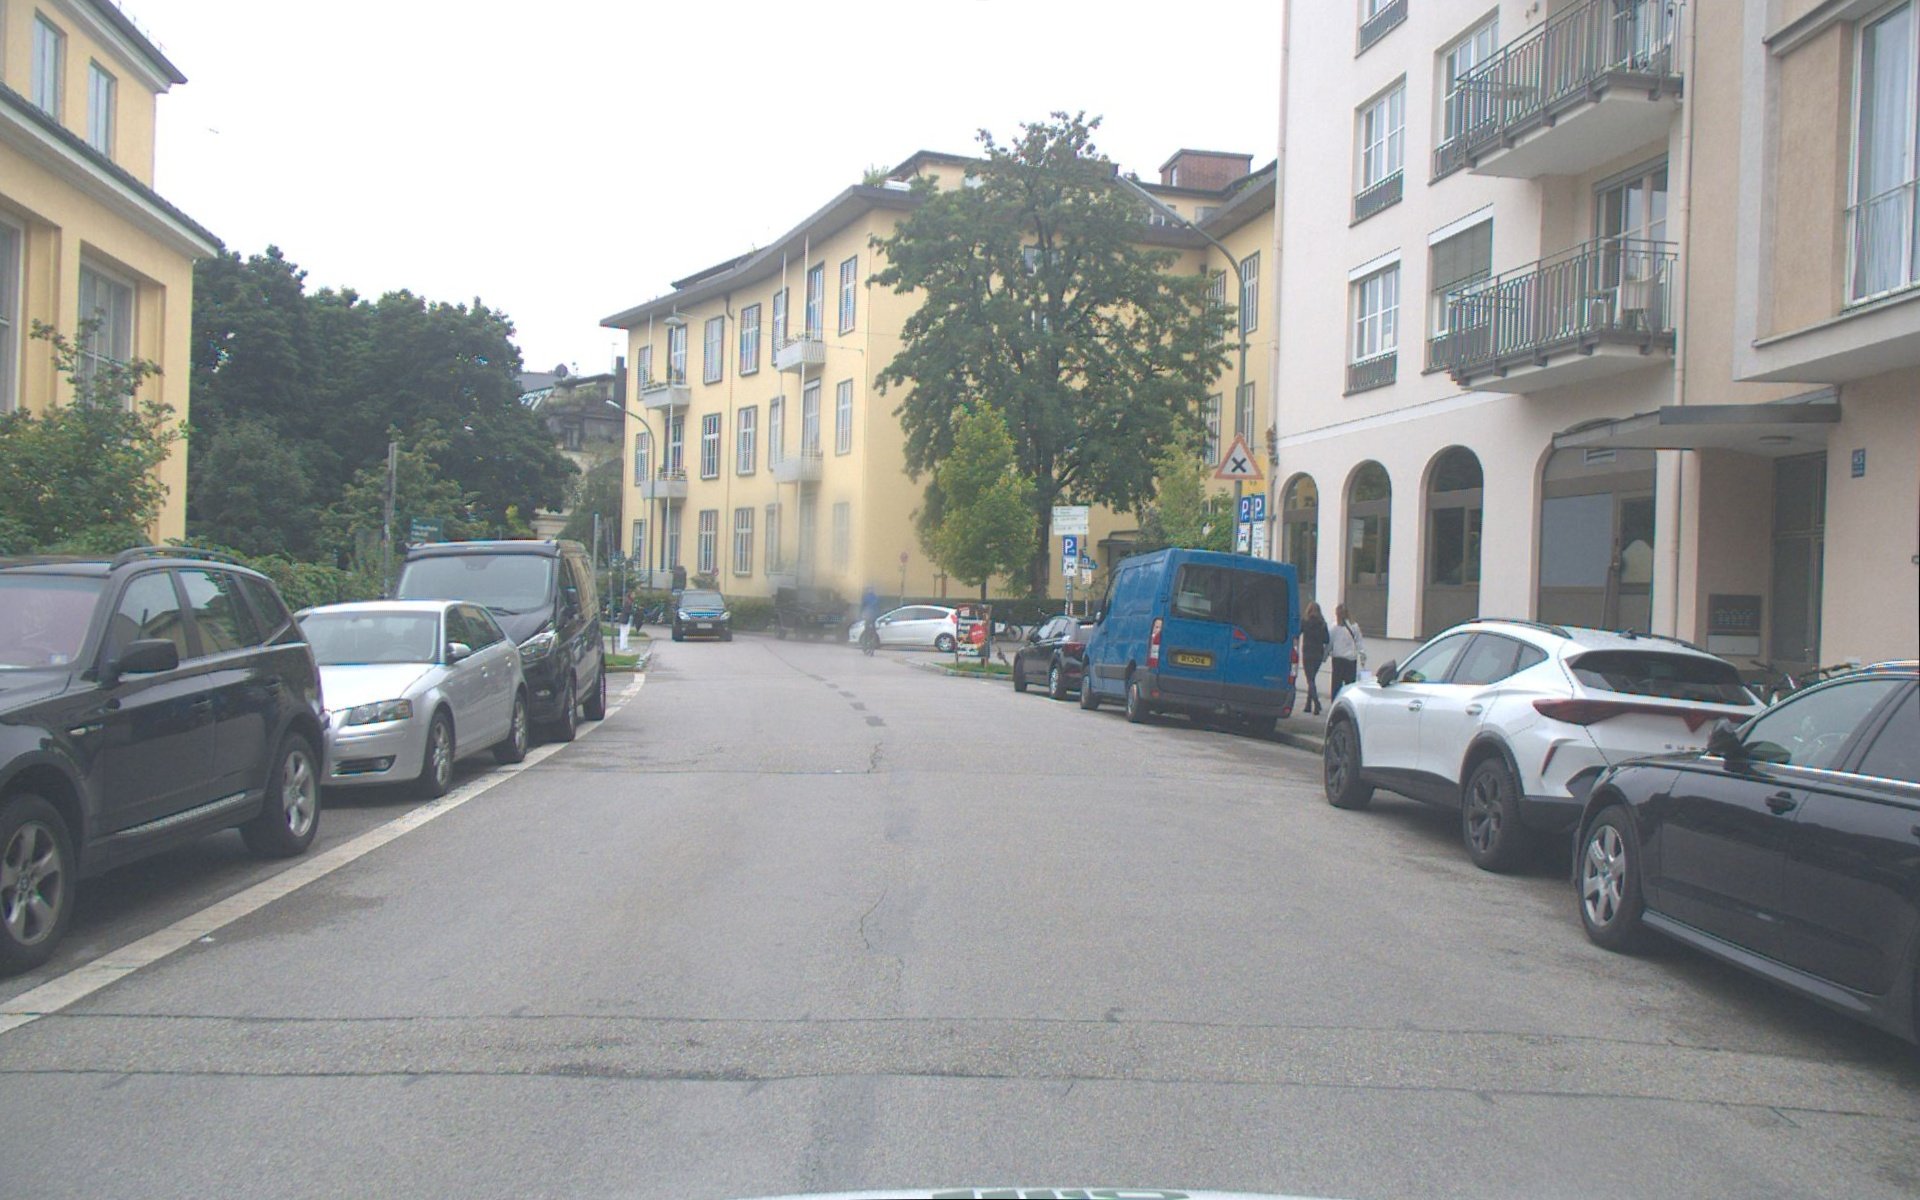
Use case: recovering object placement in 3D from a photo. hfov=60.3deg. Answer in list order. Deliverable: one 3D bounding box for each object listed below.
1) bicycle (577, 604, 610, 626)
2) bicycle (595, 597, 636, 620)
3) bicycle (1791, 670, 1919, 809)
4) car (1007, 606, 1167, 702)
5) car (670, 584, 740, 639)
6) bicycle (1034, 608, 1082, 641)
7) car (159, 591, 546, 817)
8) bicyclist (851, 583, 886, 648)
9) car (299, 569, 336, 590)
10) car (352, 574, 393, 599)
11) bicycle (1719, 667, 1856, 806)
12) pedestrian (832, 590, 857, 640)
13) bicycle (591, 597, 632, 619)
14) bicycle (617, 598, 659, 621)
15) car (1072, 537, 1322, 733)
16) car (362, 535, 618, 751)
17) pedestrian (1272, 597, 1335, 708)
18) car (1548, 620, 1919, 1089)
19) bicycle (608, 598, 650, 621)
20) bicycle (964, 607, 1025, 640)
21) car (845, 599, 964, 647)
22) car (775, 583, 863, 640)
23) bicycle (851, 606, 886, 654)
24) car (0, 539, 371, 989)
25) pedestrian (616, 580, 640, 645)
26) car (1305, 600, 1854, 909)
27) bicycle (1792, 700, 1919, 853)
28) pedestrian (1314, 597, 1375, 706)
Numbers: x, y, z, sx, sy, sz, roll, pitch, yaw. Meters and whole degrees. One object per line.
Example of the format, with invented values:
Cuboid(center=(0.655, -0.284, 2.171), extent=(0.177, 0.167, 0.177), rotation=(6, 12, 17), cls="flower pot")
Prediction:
Cuboid(center=(-18.483, 0.766, 83.440), extent=(0.521, 1.046, 1.977), rotation=(1, 0, 23), cls="bicycle")
Cuboid(center=(-16.871, 0.415, 80.946), extent=(0.608, 1.046, 1.965), rotation=(1, -1, 43), cls="bicycle")
Cuboid(center=(7.971, 1.219, 14.778), extent=(0.361, 1.120, 1.346), rotation=(-2, -1, 0), cls="bicycle")
Cuboid(center=(2.184, 0.908, 29.452), extent=(1.685, 1.419, 3.988), rotation=(5, -1, -12), cls="car")
Cuboid(center=(-8.829, 0.377, 57.000), extent=(1.959, 1.749, 4.599), rotation=(1, 1, -14), cls="car")
Cuboid(center=(3.525, 0.893, 59.693), extent=(1.651, 1.150, 0.459), rotation=(1, 0, -11), cls="bicycle")
Cuboid(center=(-4.542, 0.679, 13.016), extent=(1.673, 1.389, 3.999), rotation=(-3, 1, -3), cls="car")
Cuboid(center=(-2.587, 0.430, 46.842), extent=(0.895, 1.795, 1.215), rotation=(1, 0, -2), cls="bicyclist")
Cuboid(center=(-54.124, -1.739, 139.251), extent=(1.976, 1.628, 4.204), rotation=(1, 0, -34), cls="car")
Cuboid(center=(-41.305, -0.956, 116.247), extent=(1.777, 1.709, 3.952), rotation=(1, 1, -34), cls="car")
Cuboid(center=(7.328, 1.188, 14.703), extent=(0.384, 1.120, 1.345), rotation=(-2, -1, -6), cls="bicycle")
Cuboid(center=(-4.206, 0.539, 60.000), extent=(0.832, 1.788, 0.952), rotation=(1, 0, -8), cls="pedestrian")
Cuboid(center=(-17.255, 0.402, 81.957), extent=(0.608, 1.046, 1.965), rotation=(1, -1, 43), cls="bicycle")
Cuboid(center=(-15.489, 0.448, 79.646), extent=(0.608, 1.046, 1.965), rotation=(1, -1, 43), cls="bicycle")
Cuboid(center=(3.161, 0.503, 23.313), extent=(2.070, 2.252, 5.020), rotation=(6, -2, -7), cls="car")
Cuboid(center=(-4.961, 0.378, 18.111), extent=(1.888, 2.013, 4.616), rotation=(-1, 1, -6), cls="car")
Cuboid(center=(5.203, 0.792, 25.094), extent=(0.666, 1.657, 0.827), rotation=(1, -1, -11), cls="pedestrian")
Cuboid(center=(3.997, 0.932, 6.234), extent=(1.737, 1.453, 4.693), rotation=(6, 0, -1), cls="car")
Cuboid(center=(-16.034, 0.458, 80.152), extent=(0.608, 1.046, 1.965), rotation=(1, -1, 43), cls="bicycle")
Cuboid(center=(1.256, 0.844, 59.802), extent=(2.122, 1.135, 0.641), rotation=(1, 0, 7), cls="bicycle")
Cuboid(center=(-1.771, 0.739, 53.638), extent=(3.636, 1.431, 1.754), rotation=(2, 0, 5), cls="car")
Cuboid(center=(-5.149, 0.387, 59.940), extent=(1.848, 1.920, 4.587), rotation=(1, 1, -22), cls="car")
Cuboid(center=(-2.580, 0.831, 46.855), extent=(0.902, 1.274, 2.321), rotation=(1, 0, -1), cls="bicycle")
Cuboid(center=(-4.392, 0.601, 7.852), extent=(1.668, 1.634, 4.489), rotation=(-2, 1, -2), cls="car")
Cuboid(center=(-8.921, 0.320, 44.473), extent=(0.534, 1.726, 0.662), rotation=(0, 0, -21), cls="pedestrian")
Cuboid(center=(4.021, 0.898, 11.637), extent=(1.742, 1.549, 4.298), rotation=(6, 0, -7), cls="car")
Cuboid(center=(7.458, 1.411, 13.479), extent=(0.388, 1.120, 1.296), rotation=(-2, -1, -17), cls="bicycle")
Cuboid(center=(5.873, 0.772, 25.283), extent=(0.698, 1.633, 0.699), rotation=(0, 0, -9), cls="pedestrian")
